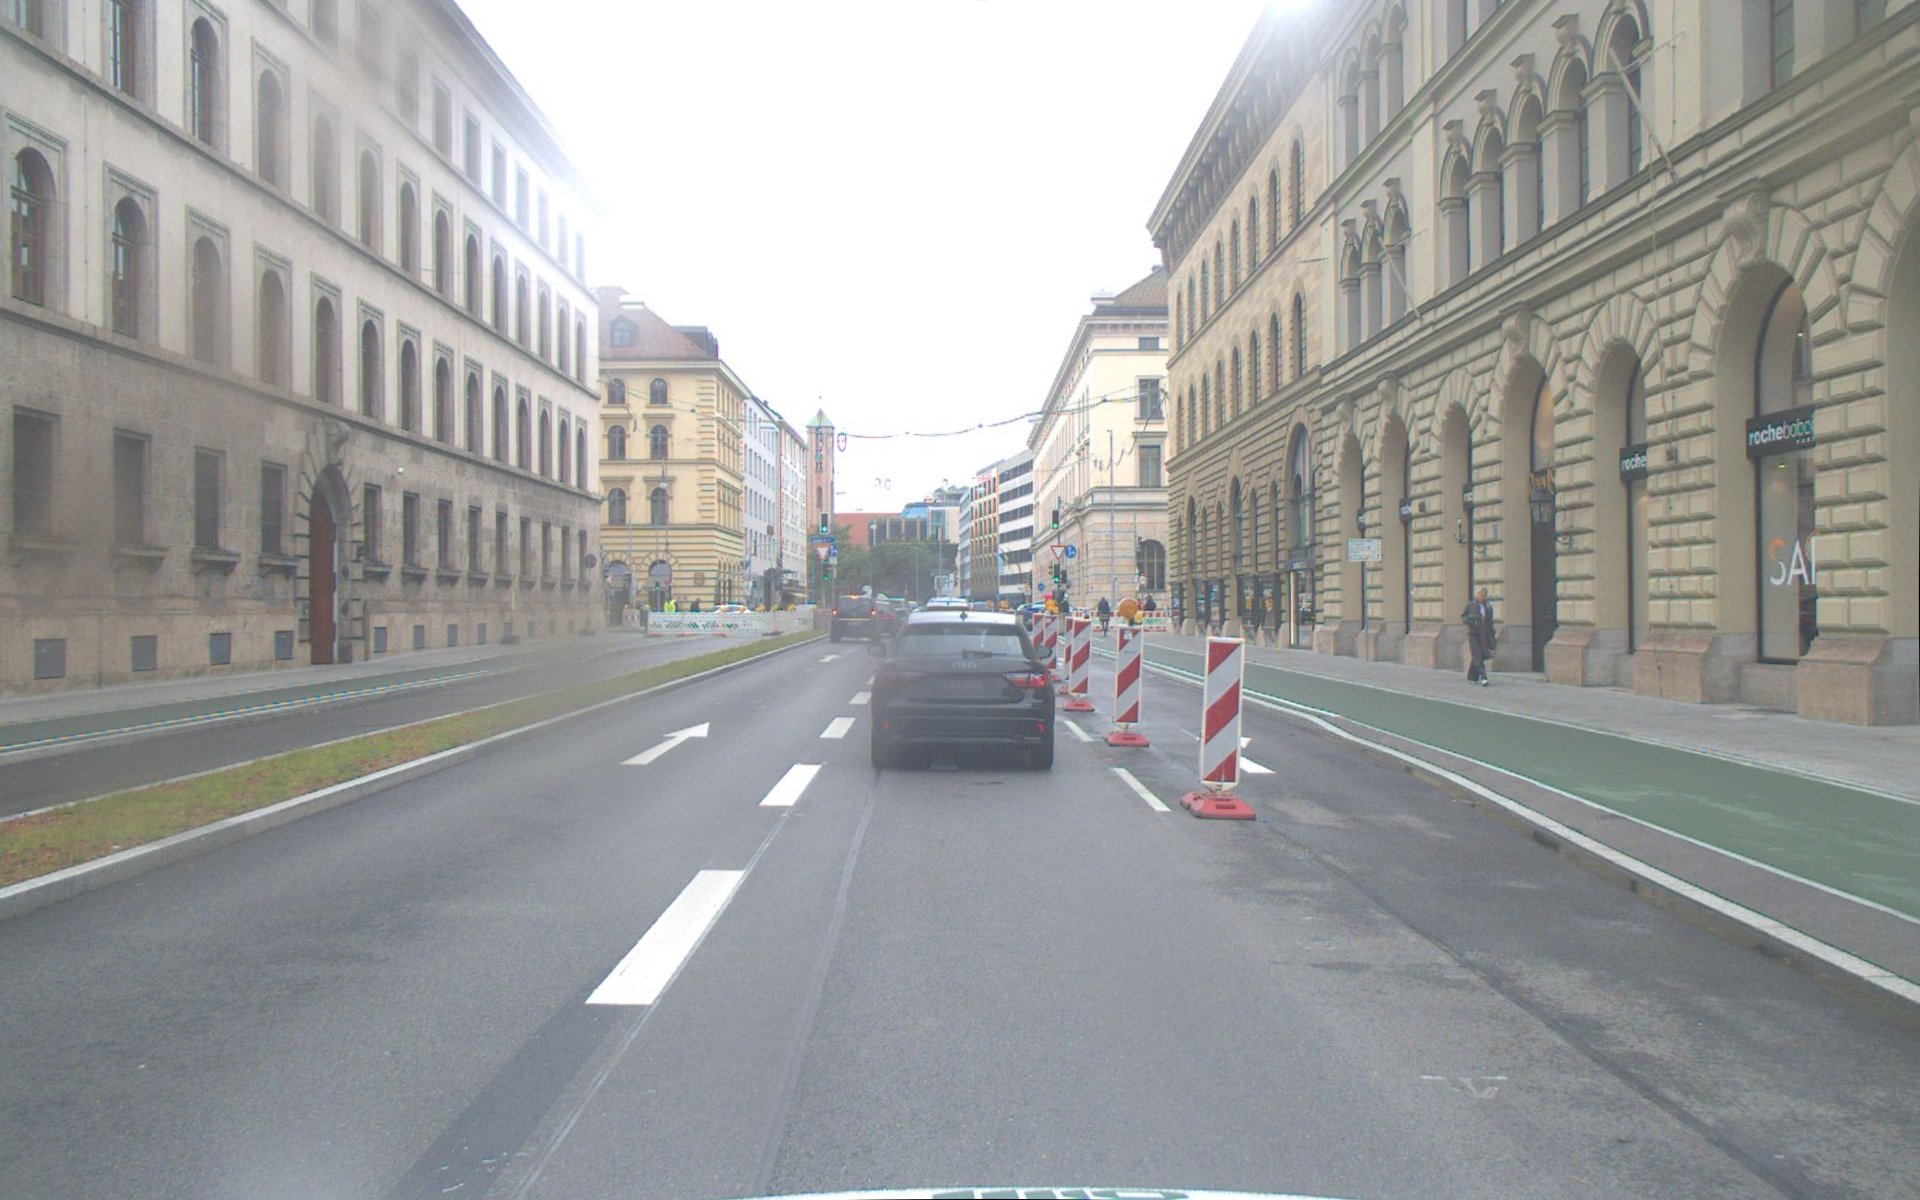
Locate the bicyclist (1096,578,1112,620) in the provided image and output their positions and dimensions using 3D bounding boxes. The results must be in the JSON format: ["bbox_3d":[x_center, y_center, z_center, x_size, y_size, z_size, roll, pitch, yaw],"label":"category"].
[{"bbox_3d":[6.403,-0.040,73.758,0.555,1.886,0.798,1,0,-6],"label":"bicyclist"}]

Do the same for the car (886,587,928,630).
[{"bbox_3d":[-2.555,0.401,80.924,1.953,2.049,3.999,-1,0,-1],"label":"car"}]

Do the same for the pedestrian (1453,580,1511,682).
[{"bbox_3d":[9.101,0.522,28.872,0.619,1.734,1.085,-1,0,-1],"label":"pedestrian"}]

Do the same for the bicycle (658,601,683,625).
[{"bbox_3d":[-15.628,0.692,89.300,0.770,1.264,2.450,1,0,4],"label":"bicycle"}]

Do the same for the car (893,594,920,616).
[{"bbox_3d":[-3.957,0.355,123.487,1.953,1.550,4.232,-1,0,-1],"label":"car"}]

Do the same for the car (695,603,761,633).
[{"bbox_3d":[-14.421,1.113,102.980,3.720,1.830,1.840,0,0,-42],"label":"car"}]

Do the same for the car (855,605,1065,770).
[{"bbox_3d":[-0.030,0.772,16.440,1.825,1.412,3.999,0,0,-1],"label":"car"}]

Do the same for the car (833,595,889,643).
[{"bbox_3d":[-3.489,0.638,58.695,1.827,1.629,3.850,-1,0,-1],"label":"car"}]

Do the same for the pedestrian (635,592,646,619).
[{"bbox_3d":[-21.420,0.373,110.851,0.720,1.803,0.737,1,0,-11],"label":"pedestrian"}]

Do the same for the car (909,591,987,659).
[{"bbox_3d":[-0.354,0.617,42.578,1.734,1.645,3.997,1,0,-4],"label":"car"}]

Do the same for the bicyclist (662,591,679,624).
[{"bbox_3d":[-15.626,0.421,89.278,0.781,1.779,0.689,1,0,3],"label":"bicyclist"}]

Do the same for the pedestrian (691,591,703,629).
[{"bbox_3d":[-12.372,0.474,77.814,0.503,1.773,1.041,0,0,-10],"label":"pedestrian"}]

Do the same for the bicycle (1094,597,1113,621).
[{"bbox_3d":[6.396,0.402,73.782,0.573,1.029,1.654,1,0,-6],"label":"bicycle"}]

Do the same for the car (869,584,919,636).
[{"bbox_3d":[-2.690,0.387,68.107,1.953,2.049,3.999,0,0,-1],"label":"car"}]

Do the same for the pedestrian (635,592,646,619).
[{"bbox_3d":[-21.567,0.365,111.612,0.720,1.803,0.737,1,0,-11],"label":"pedestrian"}]
